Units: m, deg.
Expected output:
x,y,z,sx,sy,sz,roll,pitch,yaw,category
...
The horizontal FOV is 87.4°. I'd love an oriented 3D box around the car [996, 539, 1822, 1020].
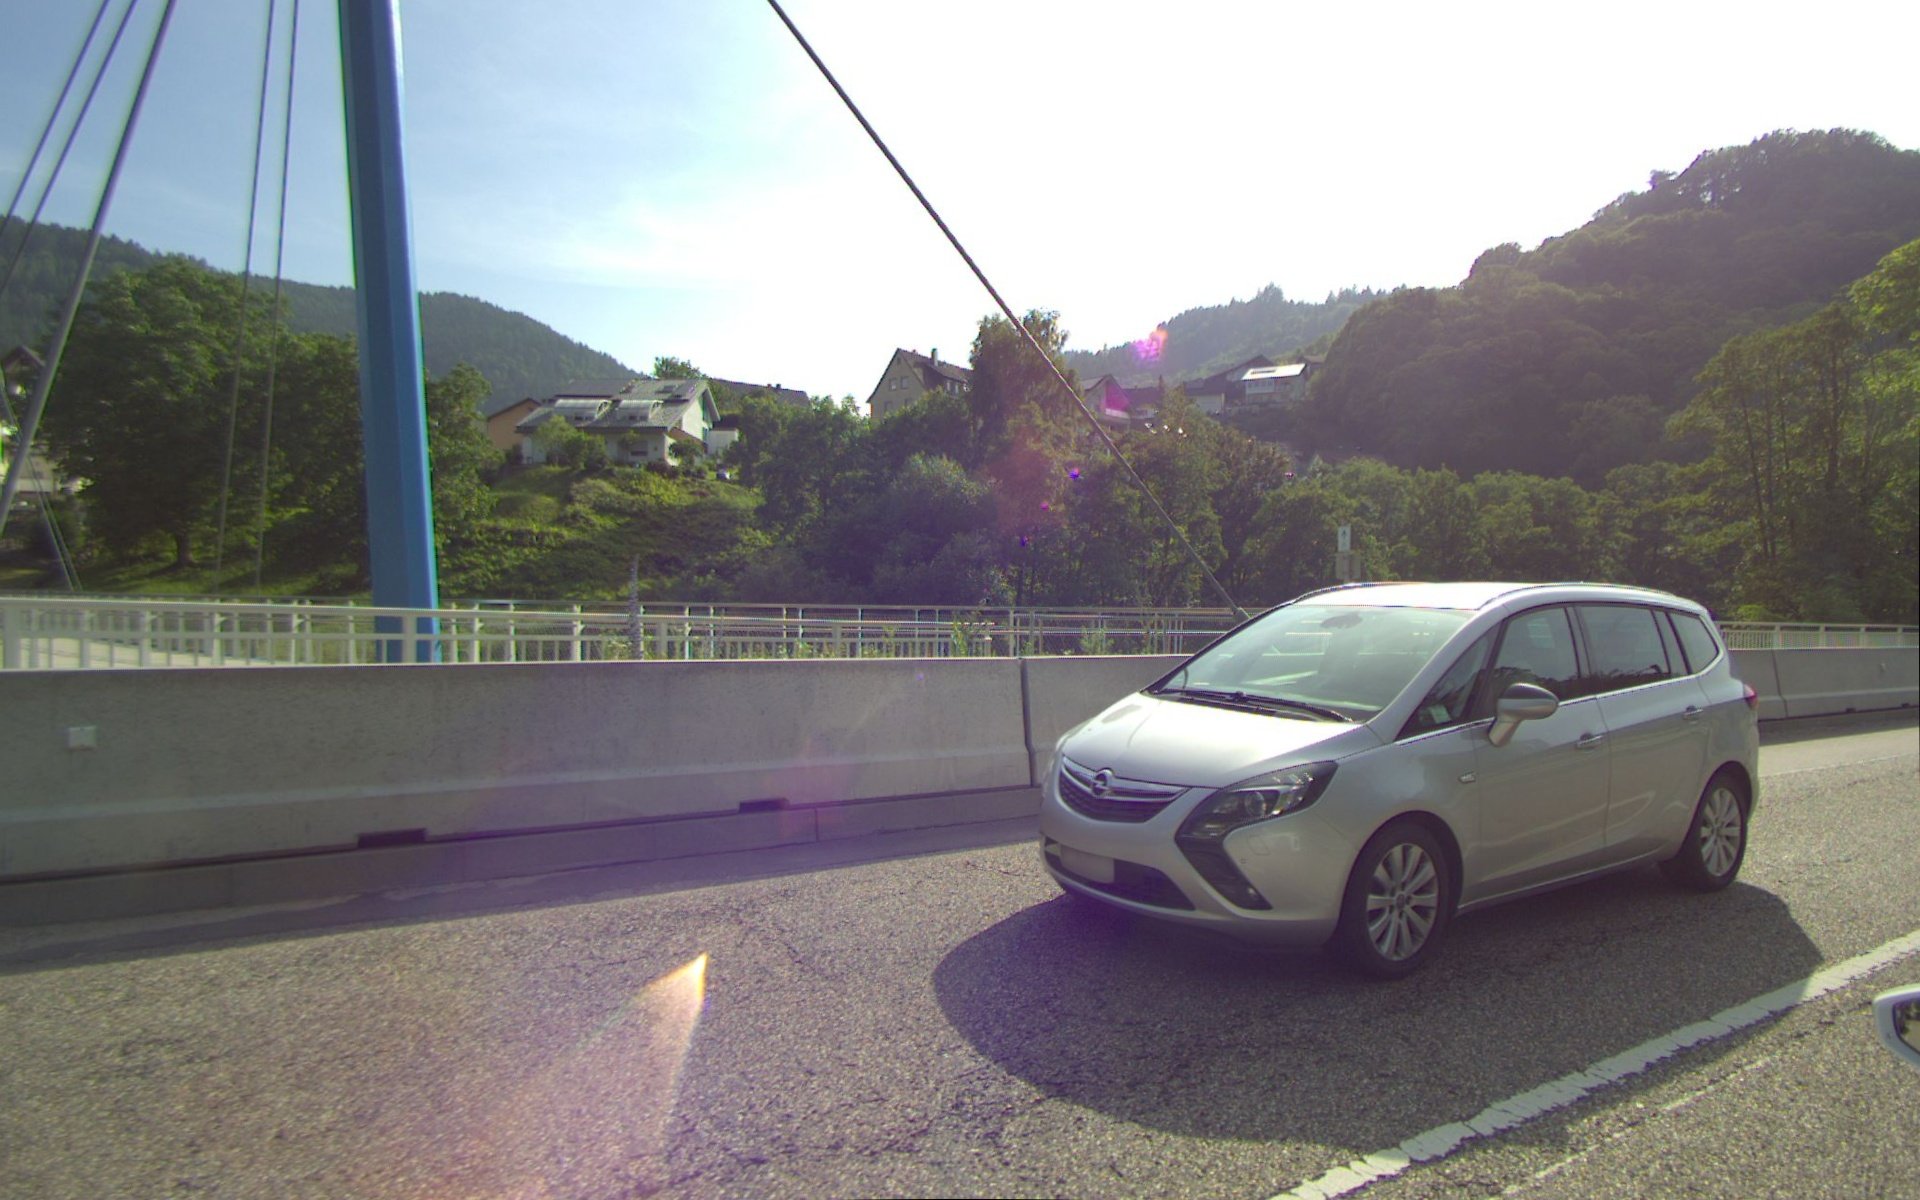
x,y,z,sx,sy,sz,roll,pitch,yaw,category
2.602,0.676,5.463,4.592,1.692,1.765,1,-1,-30,car
